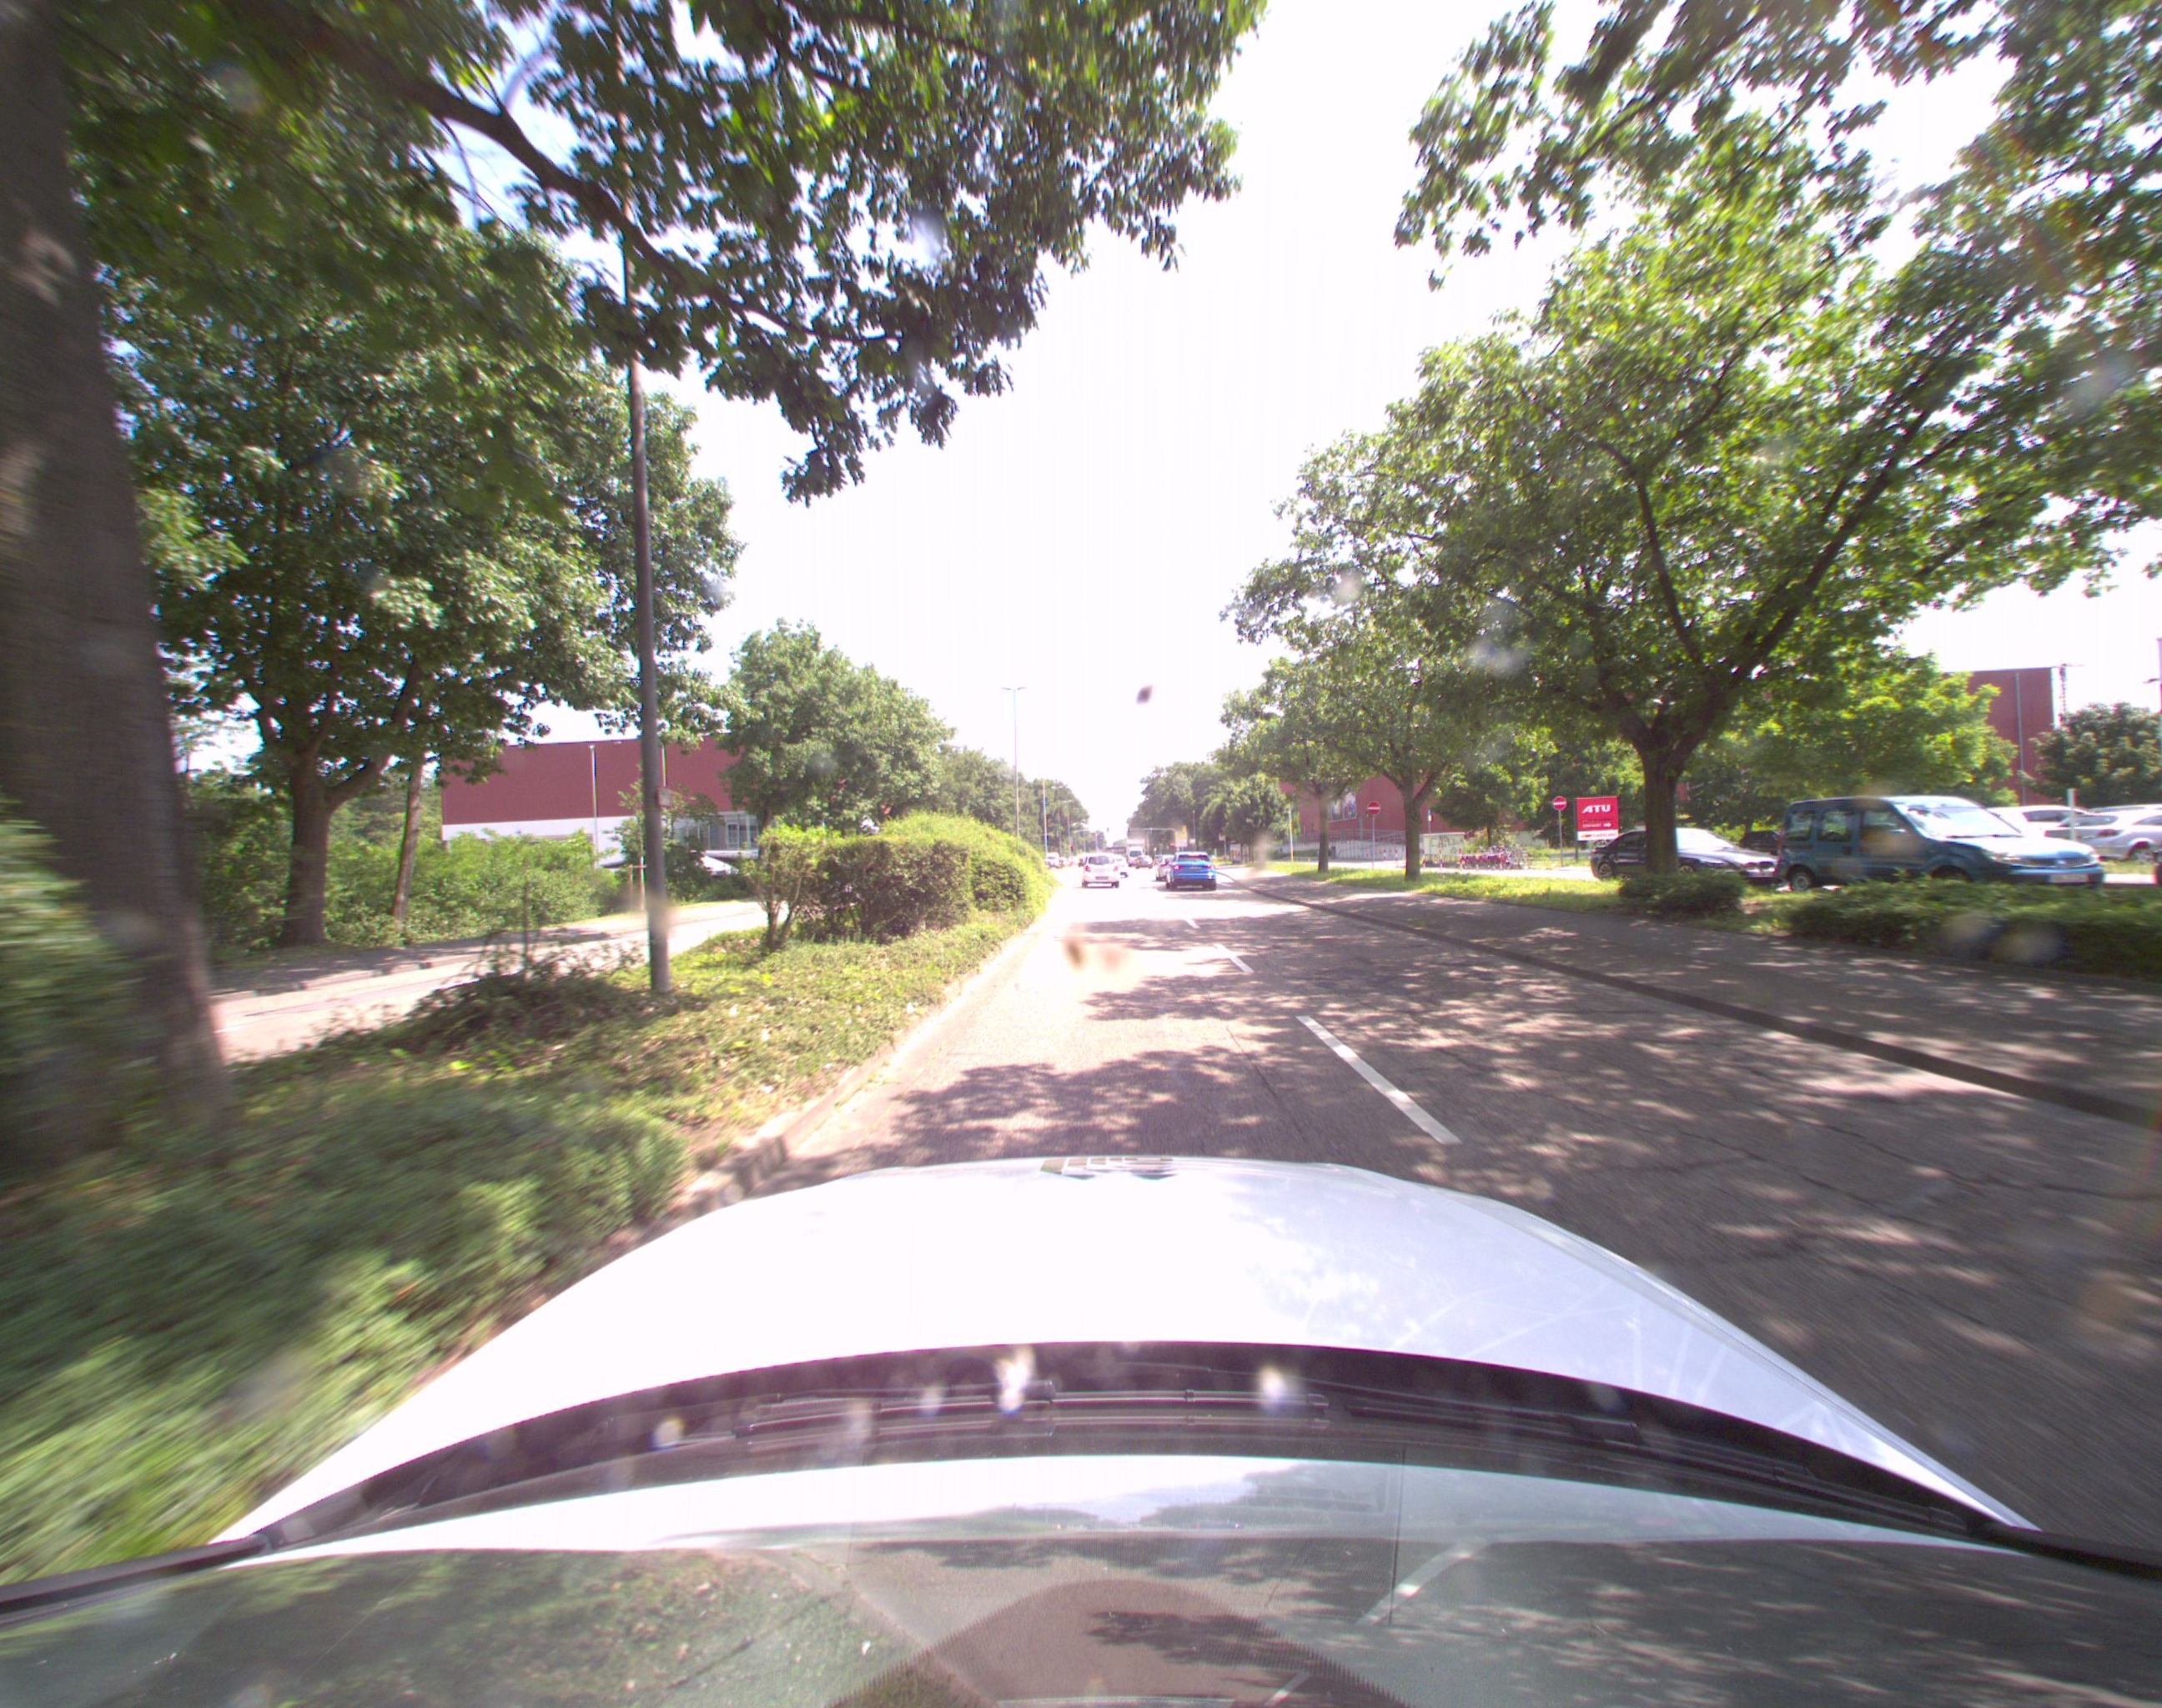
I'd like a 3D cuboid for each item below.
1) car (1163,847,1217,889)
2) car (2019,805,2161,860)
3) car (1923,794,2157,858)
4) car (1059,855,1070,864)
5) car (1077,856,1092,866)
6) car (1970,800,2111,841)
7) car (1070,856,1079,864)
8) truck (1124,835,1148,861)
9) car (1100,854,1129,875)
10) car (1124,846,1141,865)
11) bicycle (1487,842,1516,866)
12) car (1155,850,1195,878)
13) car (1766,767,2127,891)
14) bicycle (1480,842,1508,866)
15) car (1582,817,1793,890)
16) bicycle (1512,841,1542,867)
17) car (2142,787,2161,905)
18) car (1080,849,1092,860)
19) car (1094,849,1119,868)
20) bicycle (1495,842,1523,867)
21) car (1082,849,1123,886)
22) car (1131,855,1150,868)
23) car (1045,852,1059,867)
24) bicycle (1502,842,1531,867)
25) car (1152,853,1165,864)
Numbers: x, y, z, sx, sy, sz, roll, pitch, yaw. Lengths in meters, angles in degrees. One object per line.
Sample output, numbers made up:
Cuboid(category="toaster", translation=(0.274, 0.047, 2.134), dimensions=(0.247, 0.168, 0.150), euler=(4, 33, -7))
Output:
Cuboid(category="car", translation=(4.467, 0.582, 33.981), dimensions=(1.802, 1.593, 4.351), euler=(-2, -1, 2))
Cuboid(category="car", translation=(25.691, -0.534, 19.596), dimensions=(3.972, 1.221, 1.909), euler=(-2, -1, 1))
Cuboid(category="car", translation=(25.669, -0.716, 21.909), dimensions=(3.974, 1.442, 1.942), euler=(-3, 0, 0))
Cuboid(category="car", translation=(-3.257, 1.082, 157.277), dimensions=(1.818, 1.673, 3.845), euler=(-1, -1, -5))
Cuboid(category="car", translation=(0.510, 1.039, 122.330), dimensions=(1.986, 1.288, 4.002), euler=(-3, 0, 2))
Cuboid(category="car", translation=(43.360, -1.470, 36.960), dimensions=(1.704, 1.619, 4.002), euler=(-3, 0, 2))
Cuboid(category="car", translation=(-1.094, 0.956, 128.912), dimensions=(1.364, 1.308, 2.692), euler=(-3, 0, -1))
Cuboid(category="truck", translation=(7.854, -0.853, 117.532), dimensions=(2.921, 3.502, 9.162), euler=(-3, 0, 2))
Cuboid(category="car", translation=(2.315, 0.714, 56.300), dimensions=(1.877, 1.354, 4.002), euler=(-2, -1, 2))
Cuboid(category="car", translation=(6.780, 0.184, 107.130), dimensions=(1.986, 2.255, 4.002), euler=(-3, 0, 2))
Cuboid(category="bicycle", translation=(19.903, -0.001, 38.556), dimensions=(1.084, 1.085, 0.407), euler=(-3, 0, 2))
Cuboid(category="car", translation=(5.312, 0.582, 46.500), dimensions=(1.859, 1.473, 4.001), euler=(-2, -1, 2))
Cuboid(category="car", translation=(13.566, -0.322, 13.175), dimensions=(1.694, 1.637, 3.906), euler=(-2, -1, 1))
Cuboid(category="bicycle", translation=(19.901, 0.007, 39.220), dimensions=(1.084, 1.085, 0.407), euler=(-3, 0, 2))
Cuboid(category="car", translation=(13.701, 0.017, 18.809), dimensions=(1.692, 1.424, 4.660), euler=(-2, -1, 5))
Cuboid(category="bicycle", translation=(19.957, -0.009, 36.444), dimensions=(1.084, 1.085, 0.347), euler=(-3, 0, 2))
Cuboid(category="car", translation=(13.447, -0.114, 7.726), dimensions=(1.694, 1.380, 3.906), euler=(-2, 0, 1))
Cuboid(category="car", translation=(0.947, 0.096, 164.488), dimensions=(1.984, 2.013, 4.006), euler=(-3, 0, 5))
Cuboid(category="car", translation=(2.146, 0.419, 69.227), dimensions=(1.790, 1.523, 3.997), euler=(-1, -1, -2))
Cuboid(category="bicycle", translation=(19.909, 0.020, 37.888), dimensions=(1.084, 1.085, 0.347), euler=(-3, 0, 2))
Cuboid(category="car", translation=(0.960, 0.607, 37.375), dimensions=(1.634, 1.552, 3.322), euler=(-2, -1, -2))
Cuboid(category="car", translation=(6.682, 0.877, 91.453), dimensions=(1.859, 1.310, 4.001), euler=(-3, 0, 1))
Cuboid(category="car", translation=(-4.519, 0.902, 128.882), dimensions=(1.772, 2.282, 4.755), euler=(-2, -1, 2))
Cuboid(category="bicycle", translation=(19.819, 0.012, 37.050), dimensions=(1.084, 1.085, 0.347), euler=(-3, 0, 2))
Cuboid(category="car", translation=(11.264, 0.653, 118.040), dimensions=(1.627, 1.464, 4.002), euler=(-3, 0, 2))
